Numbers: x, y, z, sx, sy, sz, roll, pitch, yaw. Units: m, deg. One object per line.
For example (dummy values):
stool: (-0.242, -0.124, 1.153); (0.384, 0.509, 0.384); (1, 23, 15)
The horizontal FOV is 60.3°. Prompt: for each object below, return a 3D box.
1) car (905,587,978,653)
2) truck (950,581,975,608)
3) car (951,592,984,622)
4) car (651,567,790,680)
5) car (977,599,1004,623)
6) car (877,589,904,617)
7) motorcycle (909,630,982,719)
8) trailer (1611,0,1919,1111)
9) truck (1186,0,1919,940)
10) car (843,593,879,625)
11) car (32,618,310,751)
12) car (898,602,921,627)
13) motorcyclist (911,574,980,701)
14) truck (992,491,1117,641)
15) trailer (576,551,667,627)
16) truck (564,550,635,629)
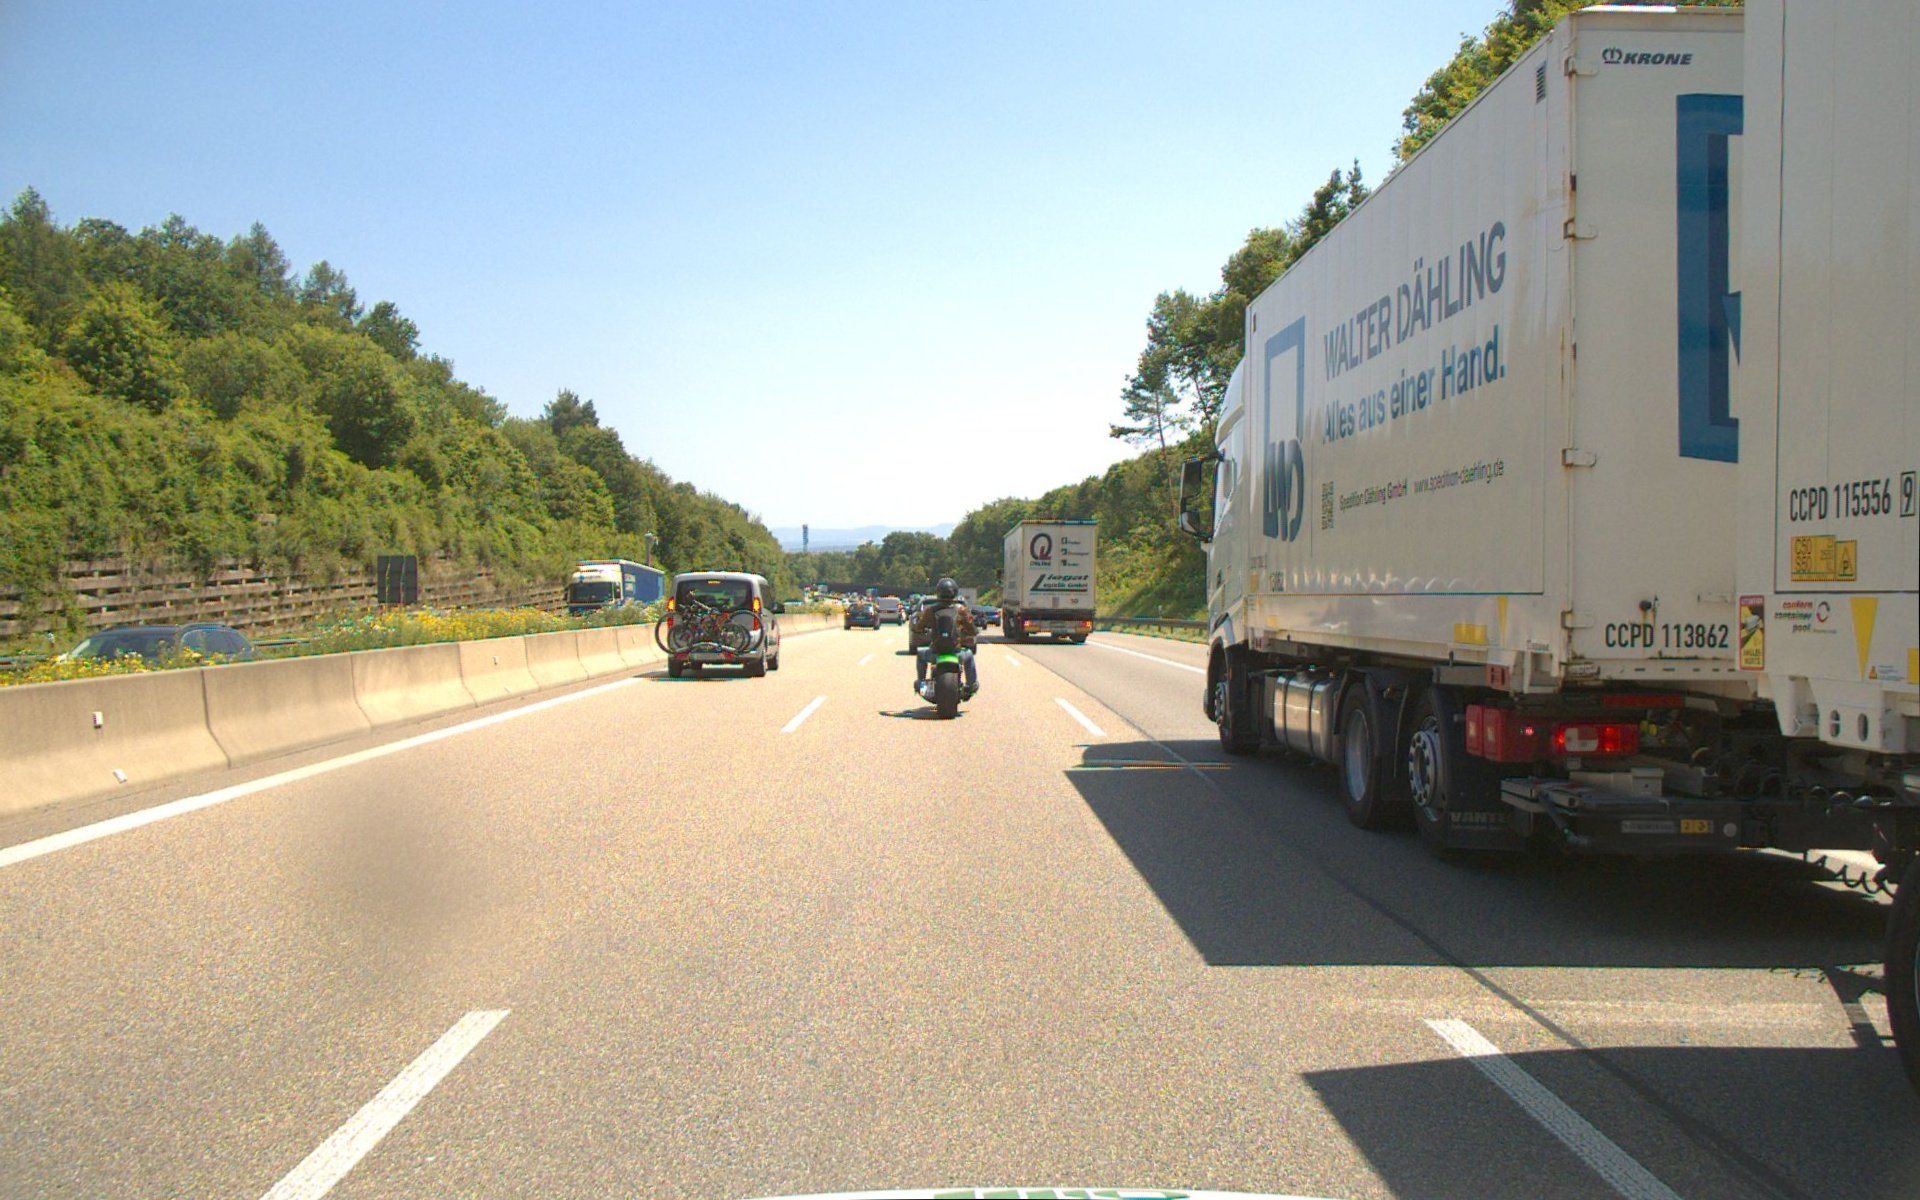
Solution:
car: (-0.508, 0.487, 43.323); (1.808, 1.584, 4.438); (1, 1, -1)
truck: (0.324, -0.755, 214.148); (3.005, 3.405, 9.650); (2, 1, -1)
car: (0.404, 0.376, 94.152); (1.794, 1.585, 4.119); (1, 1, -1)
car: (-4.315, 0.383, 30.586); (1.860, 1.880, 5.481); (1, 0, -1)
car: (2.168, 0.783, 118.911); (1.794, 1.553, 4.026); (1, 1, -1)
car: (-4.825, 0.202, 114.805); (1.794, 1.842, 4.119); (1, 1, -1)
motorcycle: (-0.171, 0.895, 20.547); (0.844, 0.999, 2.130); (0, 0, 0)
trailer: (4.100, -0.639, 1.759); (2.625, 4.248, 10.063); (1, 1, -1)
truck: (3.844, -0.683, 12.297); (2.625, 4.130, 10.623); (1, 1, -1)
car: (-5.212, 0.464, 87.595); (1.722, 1.570, 4.394); (1, 1, -1)
car: (-11.086, 1.115, 23.625); (1.860, 1.552, 4.373); (-1, 1, 0)
car: (-4.133, 1.169, 135.420); (1.794, 1.842, 4.119); (1, 1, -1)
motorcyclist: (-0.176, 0.453, 20.497); (0.838, 1.541, 0.914); (0, 0, 0)
truck: (3.264, -1.188, 62.906); (3.315, 4.800, 17.705); (2, 1, -1)
trailer: (-19.450, -0.660, 95.946); (2.625, 4.085, 14.185); (0, 1, -1)
truck: (-19.310, -0.599, 88.987); (2.626, 4.101, 5.930); (0, 0, -1)
